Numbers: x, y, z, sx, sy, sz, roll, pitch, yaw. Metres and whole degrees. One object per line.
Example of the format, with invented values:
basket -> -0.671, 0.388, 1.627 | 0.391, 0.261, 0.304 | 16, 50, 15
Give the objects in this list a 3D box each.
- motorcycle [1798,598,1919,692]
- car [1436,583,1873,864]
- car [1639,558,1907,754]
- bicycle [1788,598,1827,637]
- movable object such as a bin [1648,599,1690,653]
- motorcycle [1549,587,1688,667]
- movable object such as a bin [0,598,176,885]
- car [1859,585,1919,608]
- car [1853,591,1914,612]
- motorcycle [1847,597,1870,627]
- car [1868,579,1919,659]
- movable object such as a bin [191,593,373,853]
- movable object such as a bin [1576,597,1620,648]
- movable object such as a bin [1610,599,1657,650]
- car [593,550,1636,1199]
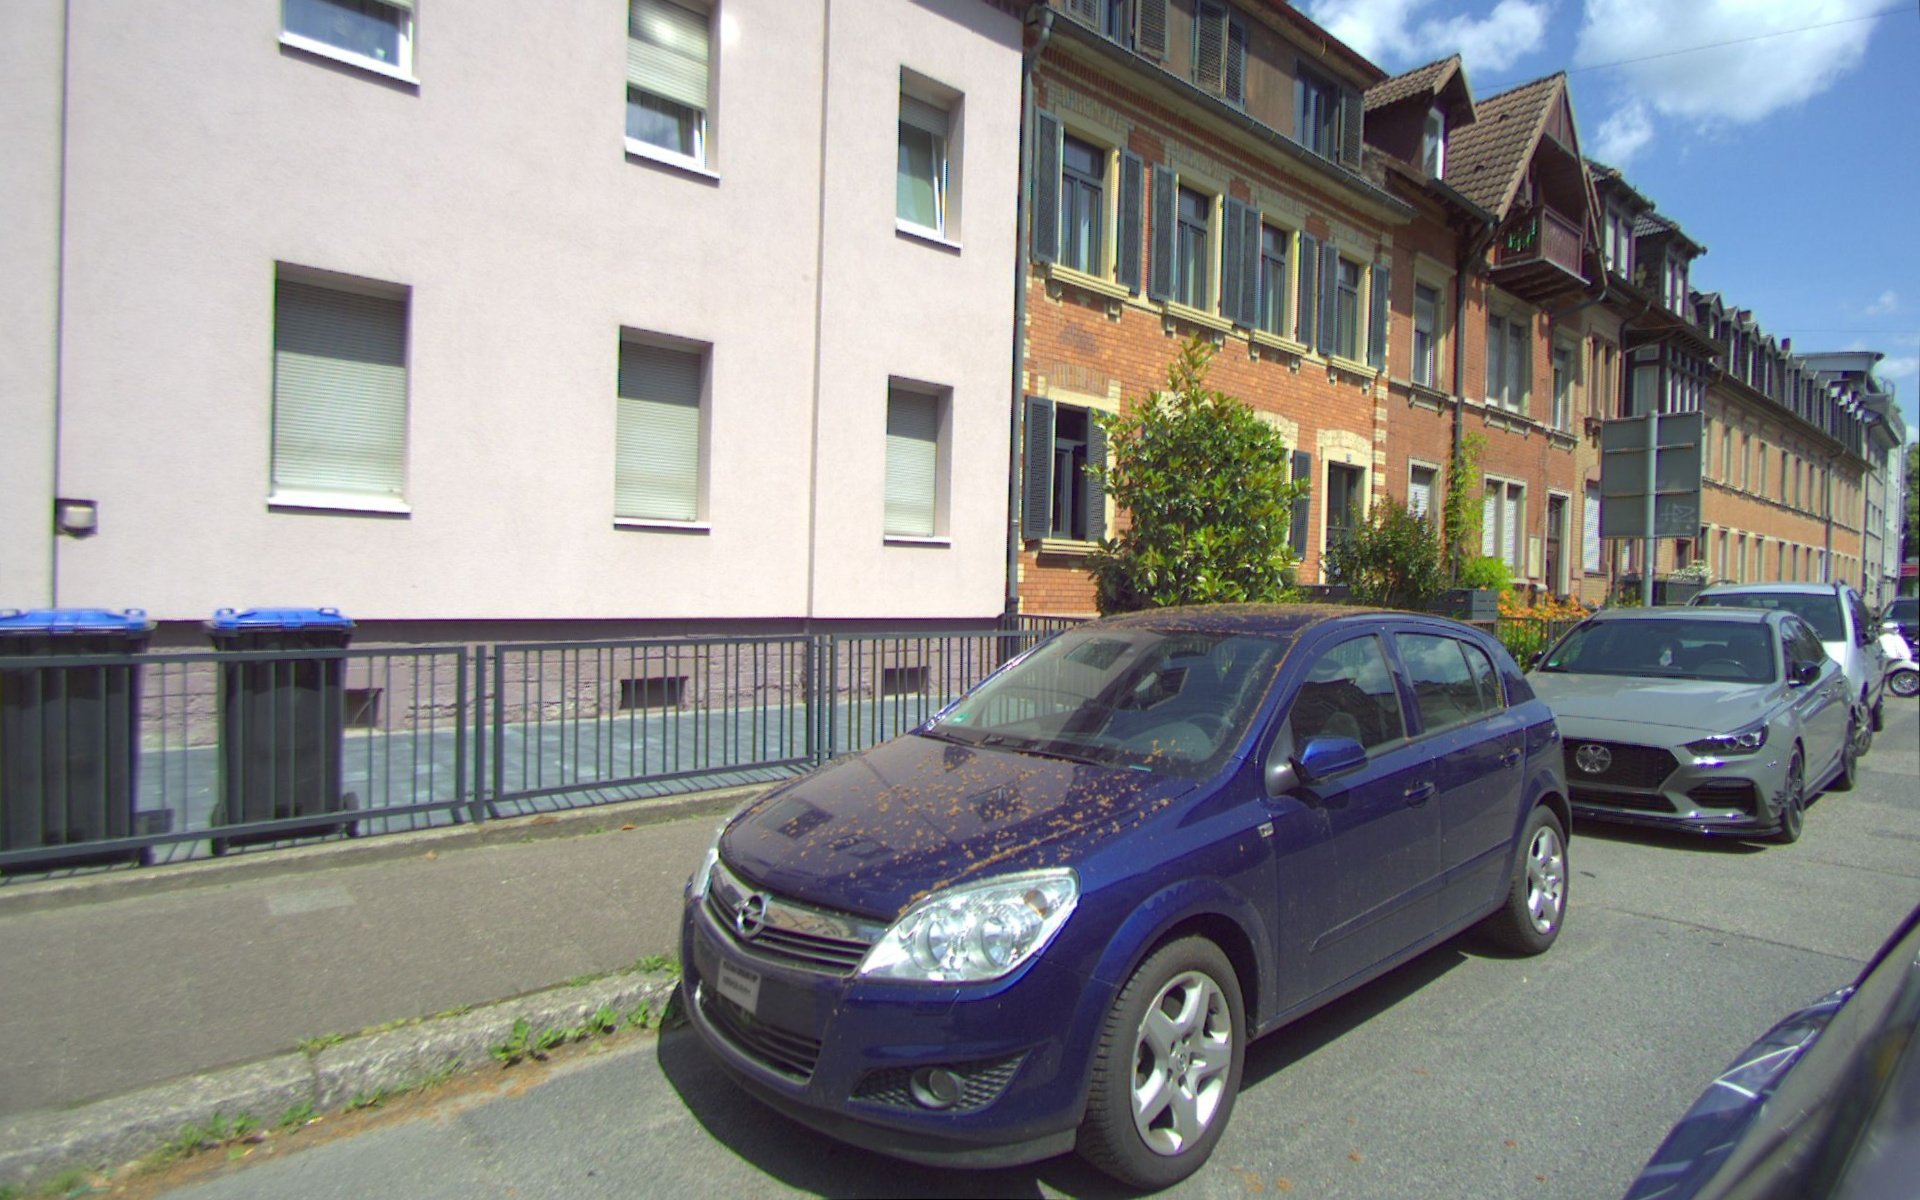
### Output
motorcycle -> 15.047, 0.689, 16.460 | 1.091, 1.403, 1.998 | 0, 1, -3
car -> 5.369, 0.666, 7.584 | 4.237, 1.506, 1.862 | 0, 0, -44
car -> 9.288, 0.510, 11.404 | 4.542, 1.770, 1.861 | 0, 0, -45
bicycle -> 24.629, 0.502, 29.399 | 1.850, 1.079, 0.594 | 0, 2, -42
movable object such as a bin -> 15.027, 0.539, 21.456 | 0.714, 1.089, 0.558 | 0, 1, -41
motorcycle -> 13.244, 0.504, 20.422 | 0.921, 1.425, 2.133 | 0, 3, -42
movable object such as a bin -> -3.777, 0.553, 4.316 | 0.671, 1.096, 0.654 | 0, 1, -38
car -> 93.907, -0.318, 102.164 | 2.071, 2.305, 4.605 | 0, 0, -44
car -> 79.068, 0.101, 86.712 | 3.760, 1.688, 1.639 | 3, 2, 41
motorcycle -> 38.577, 0.490, 43.444 | 1.338, 1.240, 0.596 | 0, 2, -43
car -> 22.046, 0.403, 22.717 | 4.546, 1.682, 1.997 | 0, 2, -42
movable object such as a bin -> -3.227, 0.528, 4.809 | 0.671, 1.096, 0.654 | 0, 1, -38
movable object such as a bin -> 14.160, 0.487, 22.470 | 0.748, 1.090, 0.610 | 0, 1, -41
movable object such as a bin -> 14.605, 0.526, 21.943 | 0.735, 1.068, 0.660 | 0, 1, -41
car -> 1.080, 0.660, 4.090 | 4.539, 1.506, 1.698 | 0, 0, -42
